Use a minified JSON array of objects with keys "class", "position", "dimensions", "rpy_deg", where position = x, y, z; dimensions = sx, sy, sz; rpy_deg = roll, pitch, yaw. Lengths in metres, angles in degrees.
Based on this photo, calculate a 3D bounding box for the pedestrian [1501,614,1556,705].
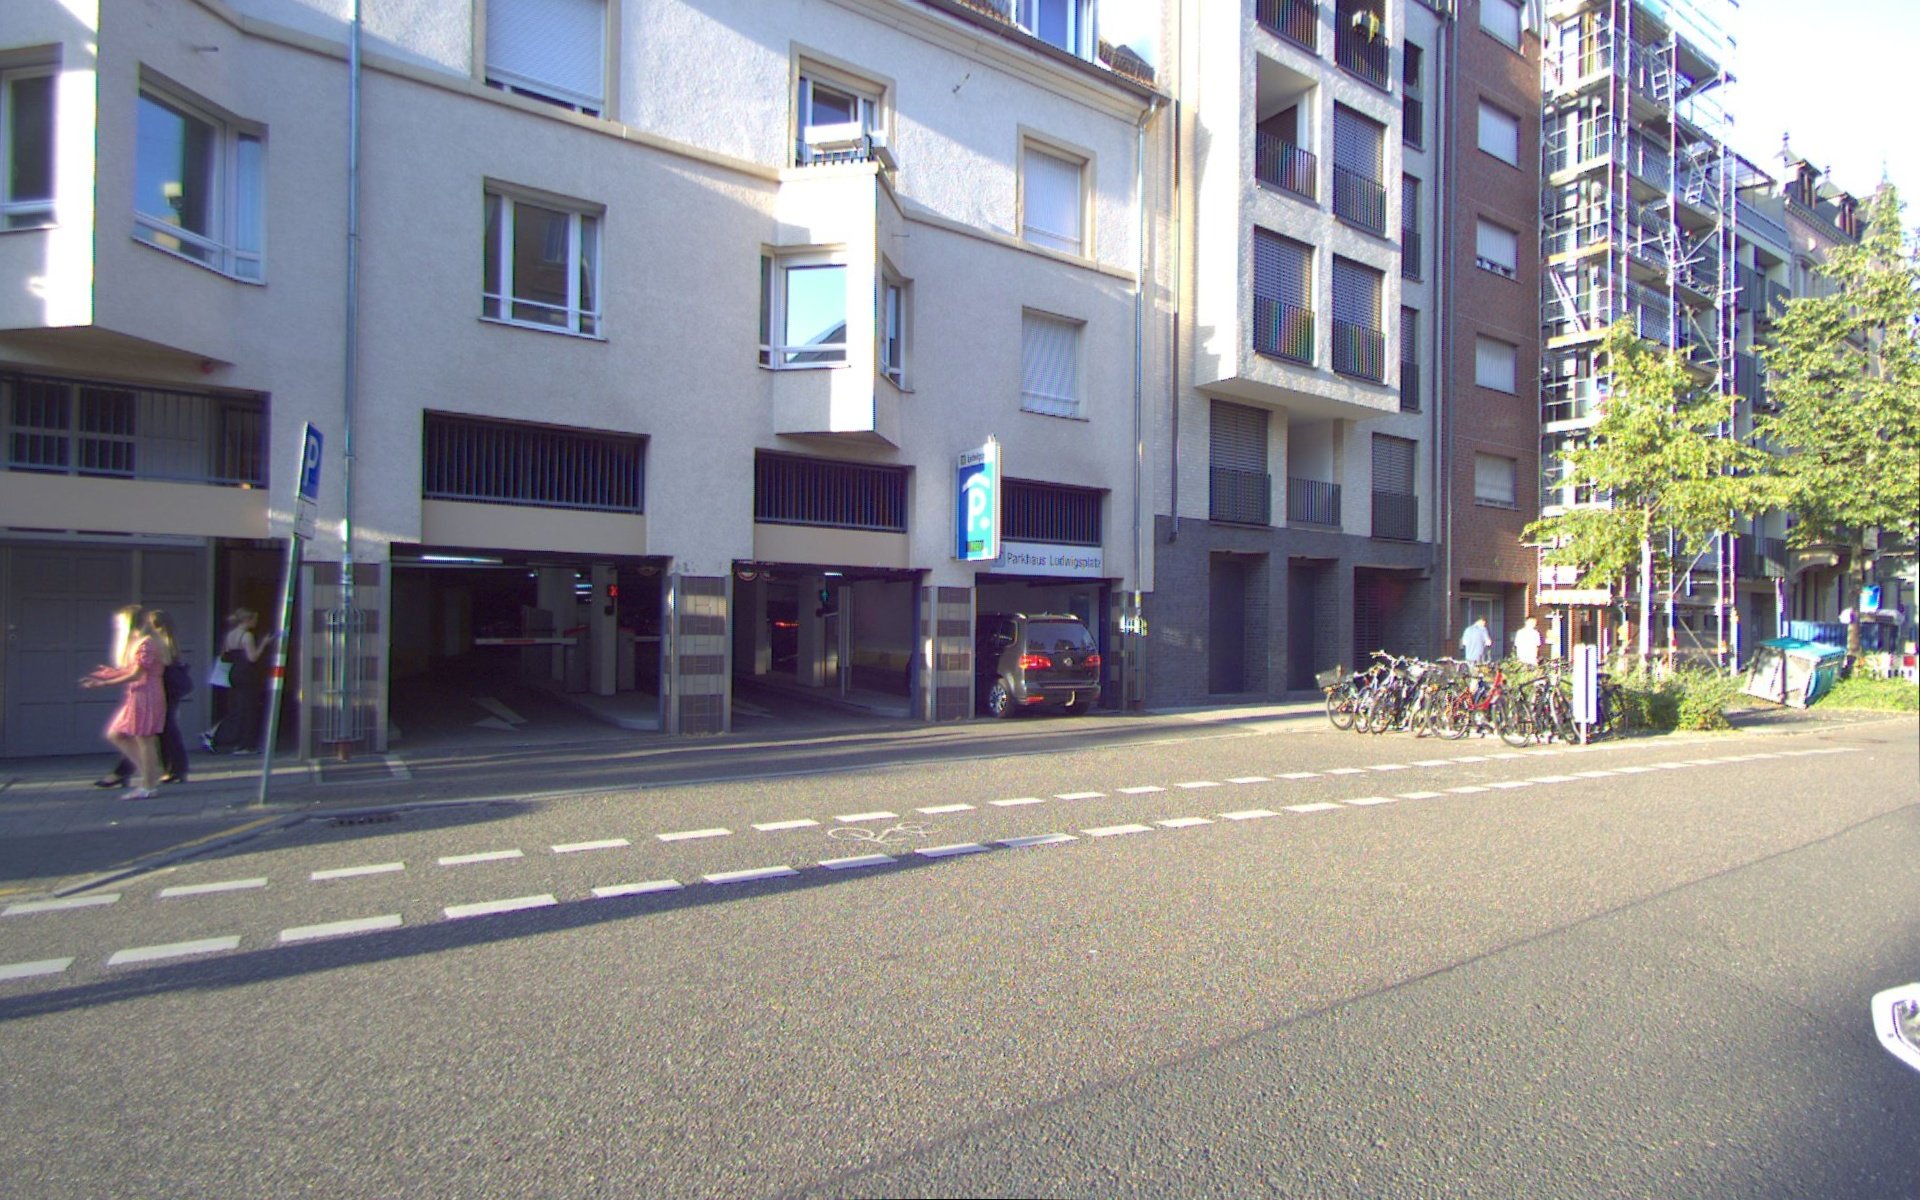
[{"class":"pedestrian","position":[11.397,1.179,20.135],"dimensions":[0.733,1.763,0.710],"rpy_deg":[2,0,-42]}]

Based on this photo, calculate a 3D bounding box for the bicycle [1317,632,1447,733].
[{"class":"bicycle","position":[6.572,1.218,15.518],"dimensions":[3.138,1.414,0.579],"rpy_deg":[2,0,-43]}]

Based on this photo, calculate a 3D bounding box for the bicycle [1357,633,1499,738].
[{"class":"bicycle","position":[7.044,1.213,15.007],"dimensions":[3.120,1.391,0.773],"rpy_deg":[2,0,-43]}]

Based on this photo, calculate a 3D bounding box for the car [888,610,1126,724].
[{"class":"car","position":[0.649,1.046,17.454],"dimensions":[1.977,1.623,4.471],"rpy_deg":[2,0,-31]}]

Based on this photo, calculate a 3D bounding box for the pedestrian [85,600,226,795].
[{"class":"pedestrian","position":[-7.261,0.843,9.113],"dimensions":[0.845,1.663,0.713],"rpy_deg":[2,0,-29]}]

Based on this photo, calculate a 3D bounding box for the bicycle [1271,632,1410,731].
[{"class":"bicycle","position":[6.122,1.248,16.018],"dimensions":[3.130,1.414,0.714],"rpy_deg":[2,0,-43]}]

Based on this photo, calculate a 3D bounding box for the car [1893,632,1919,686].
[{"class":"car","position":[28.359,1.693,27.288],"dimensions":[1.868,1.485,4.080],"rpy_deg":[2,0,-32]}]

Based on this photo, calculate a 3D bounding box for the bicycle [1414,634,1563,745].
[{"class":"bicycle","position":[7.616,1.211,14.375],"dimensions":[3.143,1.414,0.884],"rpy_deg":[2,-1,-43]}]

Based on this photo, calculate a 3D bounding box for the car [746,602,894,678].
[{"class":"car","position":[-3.518,0.906,24.467],"dimensions":[1.977,1.623,4.472],"rpy_deg":[2,0,-30]}]

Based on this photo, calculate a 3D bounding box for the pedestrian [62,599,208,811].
[{"class":"pedestrian","position":[-6.907,0.838,8.457],"dimensions":[0.847,1.663,0.712],"rpy_deg":[2,0,-35]}]

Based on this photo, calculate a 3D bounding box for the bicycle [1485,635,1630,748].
[{"class":"bicycle","position":[8.207,1.182,13.708],"dimensions":[3.164,1.368,0.836],"rpy_deg":[2,-2,-43]}]

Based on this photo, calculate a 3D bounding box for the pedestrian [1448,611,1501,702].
[{"class":"pedestrian","position":[10.450,1.126,20.404],"dimensions":[0.689,1.790,0.710],"rpy_deg":[2,0,-42]}]

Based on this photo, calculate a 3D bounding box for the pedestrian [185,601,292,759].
[{"class":"pedestrian","position":[-7.860,0.844,10.980],"dimensions":[0.845,1.637,0.713],"rpy_deg":[2,0,-31]}]
